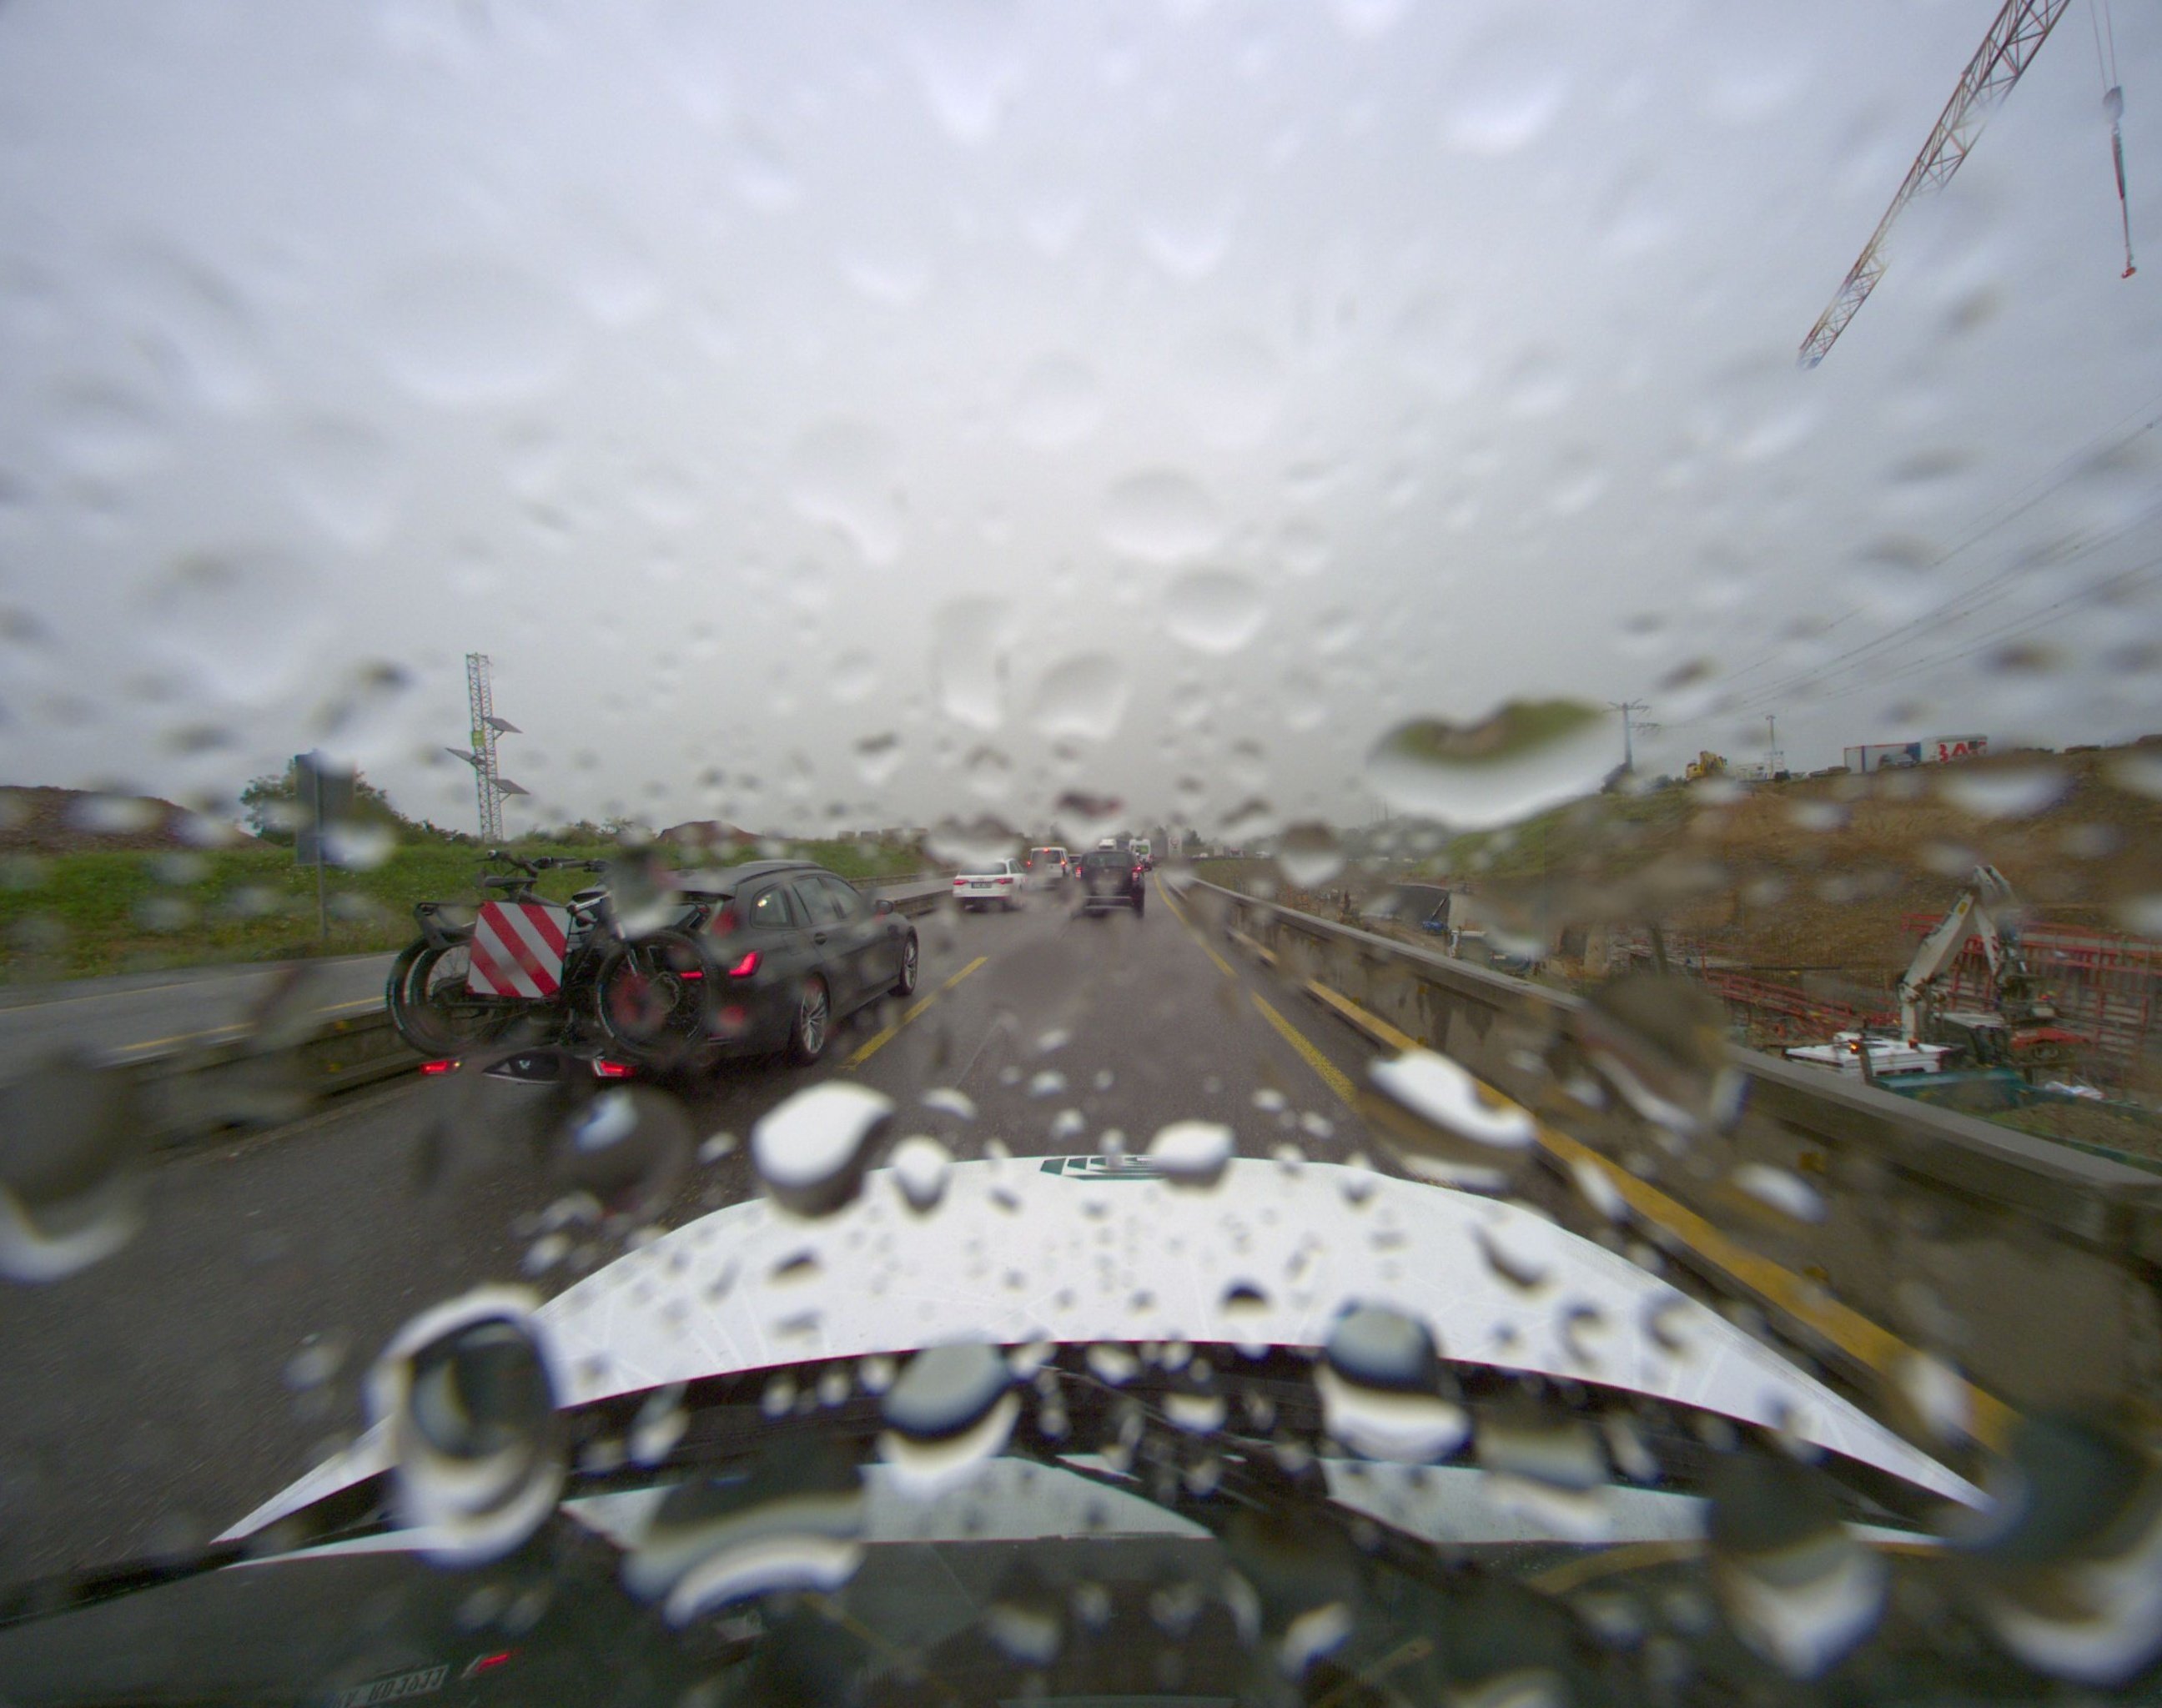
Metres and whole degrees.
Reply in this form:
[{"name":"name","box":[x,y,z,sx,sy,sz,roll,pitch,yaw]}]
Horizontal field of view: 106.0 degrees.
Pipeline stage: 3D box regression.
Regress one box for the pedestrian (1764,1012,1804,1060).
[{"name":"pedestrian","box":[34.598,8.957,40.102,0.891,1.999,0.907,10,0,7]}]

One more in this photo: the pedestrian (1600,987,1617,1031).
[{"name":"pedestrian","box":[24.700,7.230,38.103,0.568,1.869,0.740,-1,-1,40]}]

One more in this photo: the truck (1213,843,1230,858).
[{"name":"truck","box":[37.744,-0.945,219.089,3.446,3.715,8.453,-1,0,16]}]

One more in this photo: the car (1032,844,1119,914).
[{"name":"car","box":[-0.046,0.593,20.770,1.817,1.591,4.006,0,-1,5]}]

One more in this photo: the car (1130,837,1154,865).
[{"name":"car","box":[5.488,-0.199,72.784,1.816,2.437,4.167,0,-1,8]}]

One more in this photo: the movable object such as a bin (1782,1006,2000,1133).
[{"name":"movable object such as a bin","box":[22.388,5.894,22.727,3.136,2.738,2.971,0,-1,3]}]

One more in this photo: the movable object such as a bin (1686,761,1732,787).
[{"name":"movable object such as a bin","box":[68.020,-8.669,88.275,2.413,2.443,3.981,0,1,11]}]

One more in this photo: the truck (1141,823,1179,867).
[{"name":"truck","box":[9.801,-0.987,99.675,3.521,5.077,10.473,0,-1,11]}]

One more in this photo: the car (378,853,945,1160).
[{"name":"car","box":[-2.689,0.805,7.108,1.727,1.462,5.635,0,2,3]}]

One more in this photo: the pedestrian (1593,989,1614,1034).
[{"name":"pedestrian","box":[23.991,7.220,37.384,0.570,1.869,0.737,0,-1,10]}]

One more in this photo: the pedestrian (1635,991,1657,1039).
[{"name":"pedestrian","box":[24.938,7.108,35.931,0.726,1.944,0.579,-1,-1,41]}]

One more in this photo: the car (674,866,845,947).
[{"name":"car","box":[-6.404,0.967,16.812,1.603,1.443,4.463,0,-1,2]}]

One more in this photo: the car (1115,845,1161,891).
[{"name":"car","box":[2.349,0.580,34.359,1.819,1.815,4.002,0,-1,2]}]

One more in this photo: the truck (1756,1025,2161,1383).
[{"name":"truck","box":[16.135,5.476,13.488,2.689,3.503,8.951,0,-1,2]}]

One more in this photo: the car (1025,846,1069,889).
[{"name":"car","box":[-1.466,0.597,36.536,1.820,1.815,3.999,0,-1,0]}]

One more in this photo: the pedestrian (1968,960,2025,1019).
[{"name":"pedestrian","box":[35.621,5.263,31.687,0.898,1.999,0.901,10,0,8]}]

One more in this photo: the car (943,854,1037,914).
[{"name":"car","box":[-2.418,0.781,22.720,1.817,1.499,4.006,0,-1,5]}]

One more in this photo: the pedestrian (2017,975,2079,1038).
[{"name":"pedestrian","box":[35.338,5.549,29.782,0.898,1.999,0.901,10,0,8]}]

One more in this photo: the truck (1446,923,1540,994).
[{"name":"truck","box":[26.527,6.615,52.979,2.714,3.491,9.085,0,-1,8]}]

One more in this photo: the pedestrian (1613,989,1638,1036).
[{"name":"pedestrian","box":[24.425,7.114,36.551,0.576,1.944,0.729,0,-1,-25]}]

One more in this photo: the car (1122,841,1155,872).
[{"name":"car","box":[3.528,0.171,49.380,1.817,1.815,4.006,0,-1,6]}]

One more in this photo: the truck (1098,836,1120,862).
[{"name":"truck","box":[4.472,-0.828,130.952,2.771,4.034,5.835,0,1,9]}]

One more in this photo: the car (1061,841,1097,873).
[{"name":"car","box":[-0.058,0.187,48.719,1.818,1.815,4.005,0,-1,5]}]
